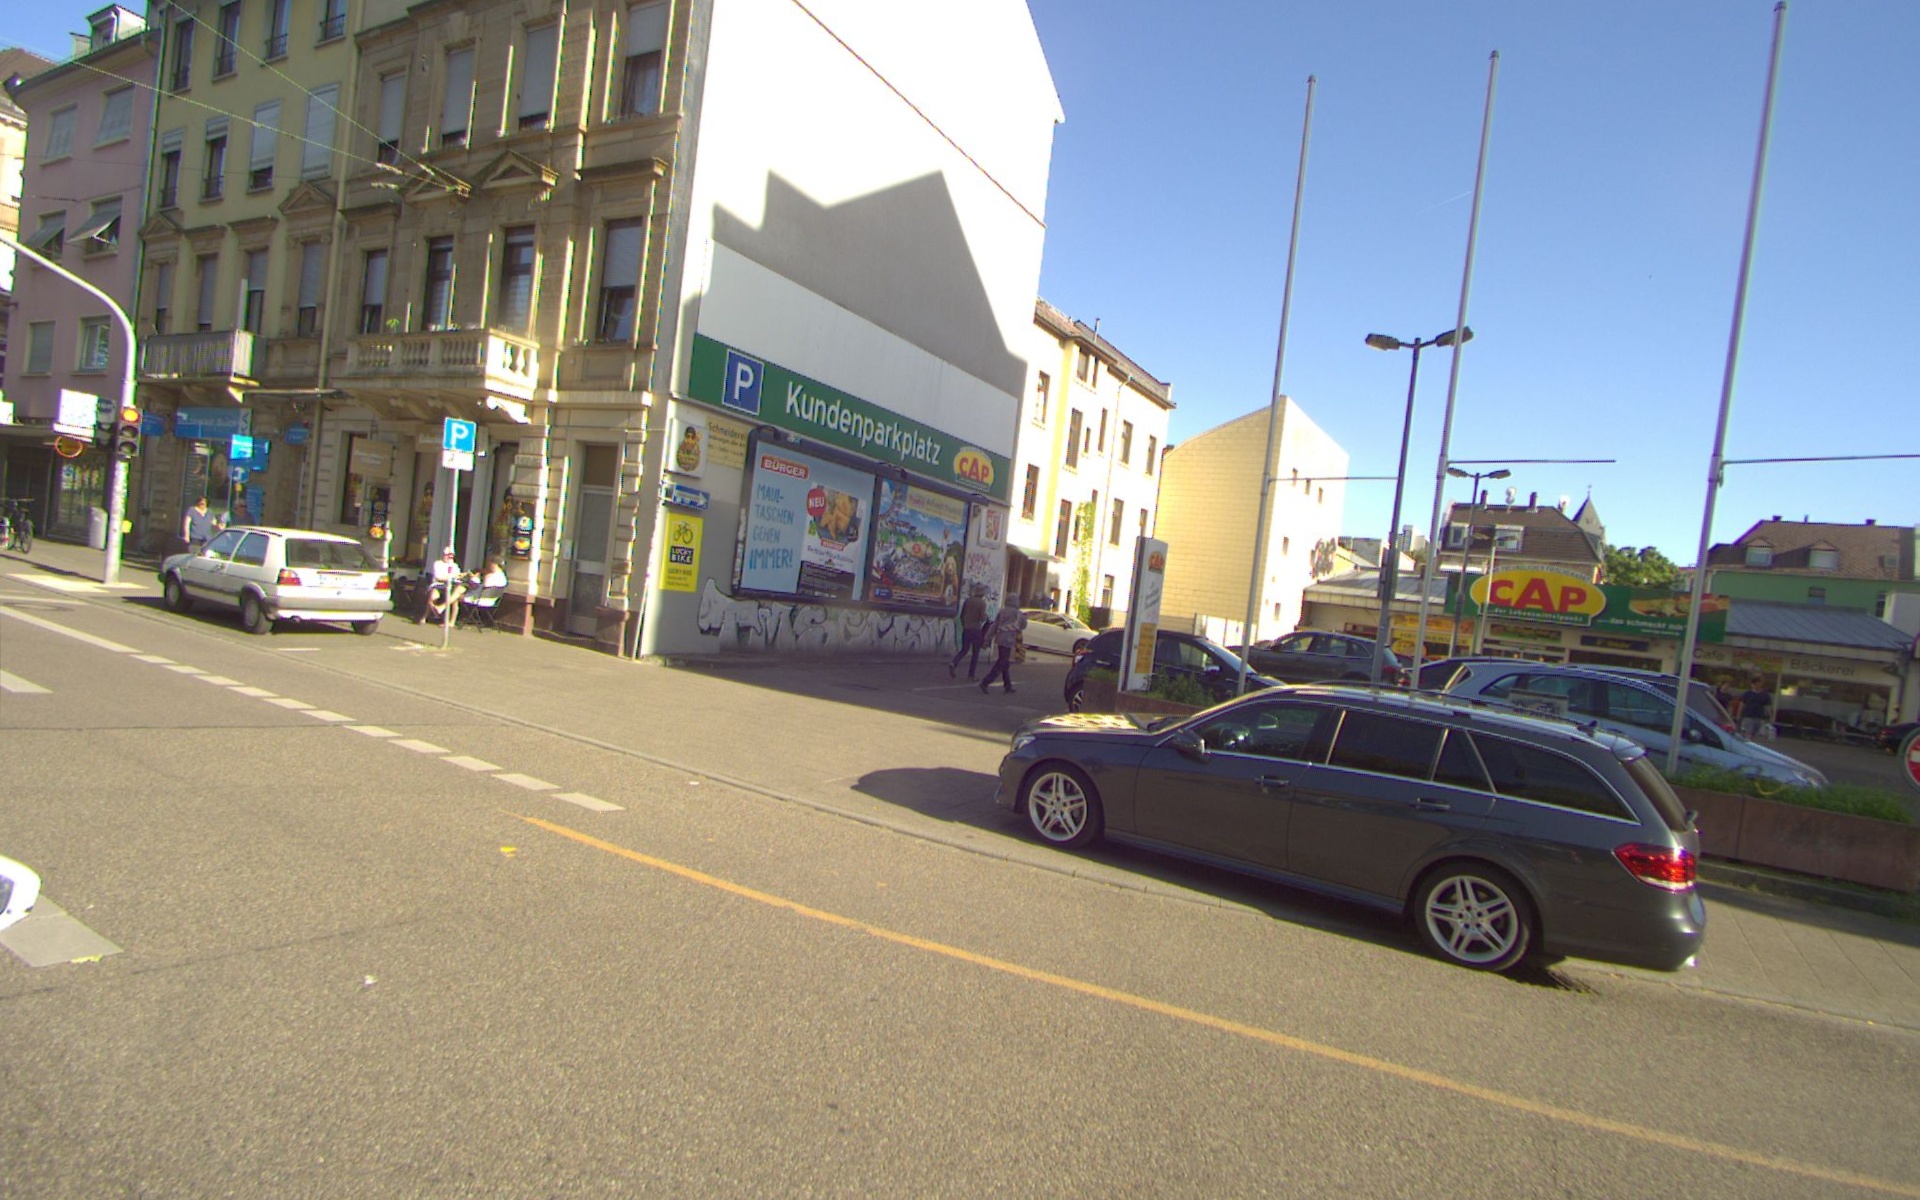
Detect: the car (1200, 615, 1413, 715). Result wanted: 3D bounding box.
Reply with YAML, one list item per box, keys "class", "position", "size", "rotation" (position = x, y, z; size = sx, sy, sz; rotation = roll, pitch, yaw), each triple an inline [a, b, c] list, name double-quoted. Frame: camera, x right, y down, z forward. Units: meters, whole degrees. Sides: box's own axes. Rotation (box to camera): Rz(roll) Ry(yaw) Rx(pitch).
- class: "car"
  position: [8.095, 1.485, 23.615]
  size: [4.309, 1.687, 1.756]
  rotation: [7, 1, 32]

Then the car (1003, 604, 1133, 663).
- class: "car"
  position: [3.682, 1.143, 34.455]
  size: [3.933, 1.482, 1.756]
  rotation: [7, 0, 32]

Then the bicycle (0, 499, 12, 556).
- class: "bicycle"
  position: [-21.006, -1.625, 21.747]
  size: [1.782, 1.154, 0.414]
  rotation: [8, 0, 38]

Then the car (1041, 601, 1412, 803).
- class: "car"
  position: [3.120, 1.085, 11.921]
  size: [3.835, 1.666, 1.652]
  rotation: [7, 1, 28]

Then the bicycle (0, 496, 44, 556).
- class: "bicycle"
  position: [-20.735, -1.646, 22.170]
  size: [1.731, 1.173, 0.448]
  rotation: [8, 1, 38]

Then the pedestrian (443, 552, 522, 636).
- class: "pedestrian"
  position: [-7.916, -0.088, 16.686]
  size: [0.644, 1.299, 0.902]
  rotation: [7, 3, 27]

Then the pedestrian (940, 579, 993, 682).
- class: "pedestrian"
  position: [0.116, 0.571, 19.308]
  size: [0.735, 1.864, 0.761]
  rotation: [7, 1, -5]

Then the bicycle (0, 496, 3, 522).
- class: "bicycle"
  position: [-34.158, -3.263, 34.994]
  size: [0.644, 0.914, 1.333]
  rotation: [7, 0, -16]

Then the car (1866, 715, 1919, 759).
- class: "car"
  position: [36.070, 5.241, 36.929]
  size: [3.941, 1.371, 1.751]
  rotation: [7, 1, 39]

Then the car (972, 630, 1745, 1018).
- class: "car"
  position: [2.598, 1.259, 7.370]
  size: [4.656, 1.507, 1.832]
  rotation: [7, 3, 32]

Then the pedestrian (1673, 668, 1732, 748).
- class: "pedestrian"
  position: [18.355, 2.659, 24.883]
  size: [0.908, 1.818, 0.817]
  rotation: [8, 1, 32]

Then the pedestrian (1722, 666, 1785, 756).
- class: "pedestrian"
  position: [19.319, 2.692, 24.519]
  size: [0.908, 2.039, 0.817]
  rotation: [8, 1, 32]

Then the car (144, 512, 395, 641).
- class: "car"
  position: [-10.191, -0.387, 14.770]
  size: [3.937, 1.435, 1.562]
  rotation: [7, 4, 32]

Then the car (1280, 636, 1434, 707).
- class: "car"
  position: [11.931, 2.124, 30.312]
  size: [3.933, 1.538, 1.723]
  rotation: [7, 1, 32]

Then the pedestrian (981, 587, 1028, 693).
- class: "pedestrian"
  position: [0.785, 0.696, 17.680]
  size: [0.503, 1.777, 0.763]
  rotation: [7, 1, 12]

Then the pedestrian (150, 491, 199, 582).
- class: "pedestrian"
  position: [-15.657, -1.254, 20.065]
  size: [0.382, 1.729, 0.550]
  rotation: [8, 1, 34]

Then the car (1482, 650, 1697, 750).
- class: "car"
  position: [14.177, 2.215, 22.891]
  size: [3.872, 1.601, 1.658]
  rotation: [7, 1, 31]

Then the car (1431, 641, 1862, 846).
- class: "car"
  position: [8.039, 1.601, 12.267]
  size: [3.930, 1.665, 1.748]
  rotation: [7, 0, 28]

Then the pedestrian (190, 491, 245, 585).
- class: "pedestrian"
  position: [-15.137, -1.261, 20.506]
  size: [0.522, 1.831, 0.673]
  rotation: [8, 4, 31]

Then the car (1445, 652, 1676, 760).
- class: "car"
  position: [12.417, 2.148, 21.022]
  size: [3.872, 1.564, 1.543]
  rotation: [7, 1, 31]

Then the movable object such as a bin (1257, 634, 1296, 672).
- class: "movable object such as a bin"
  position: [14.396, 2.407, 45.730]
  size: [1.258, 1.526, 1.175]
  rotation: [7, 1, 31]

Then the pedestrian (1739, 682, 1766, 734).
- class: "pedestrian"
  position: [32.890, 4.479, 41.772]
  size: [0.637, 2.039, 0.560]
  rotation: [8, 2, 36]

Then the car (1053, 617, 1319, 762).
- class: "car"
  position: [3.272, 1.231, 14.629]
  size: [3.336, 1.504, 1.561]
  rotation: [7, 0, 28]

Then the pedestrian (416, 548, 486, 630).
- class: "pedestrian"
  position: [-8.555, -0.180, 16.911]
  size: [0.598, 1.299, 0.797]
  rotation: [7, 4, 30]
